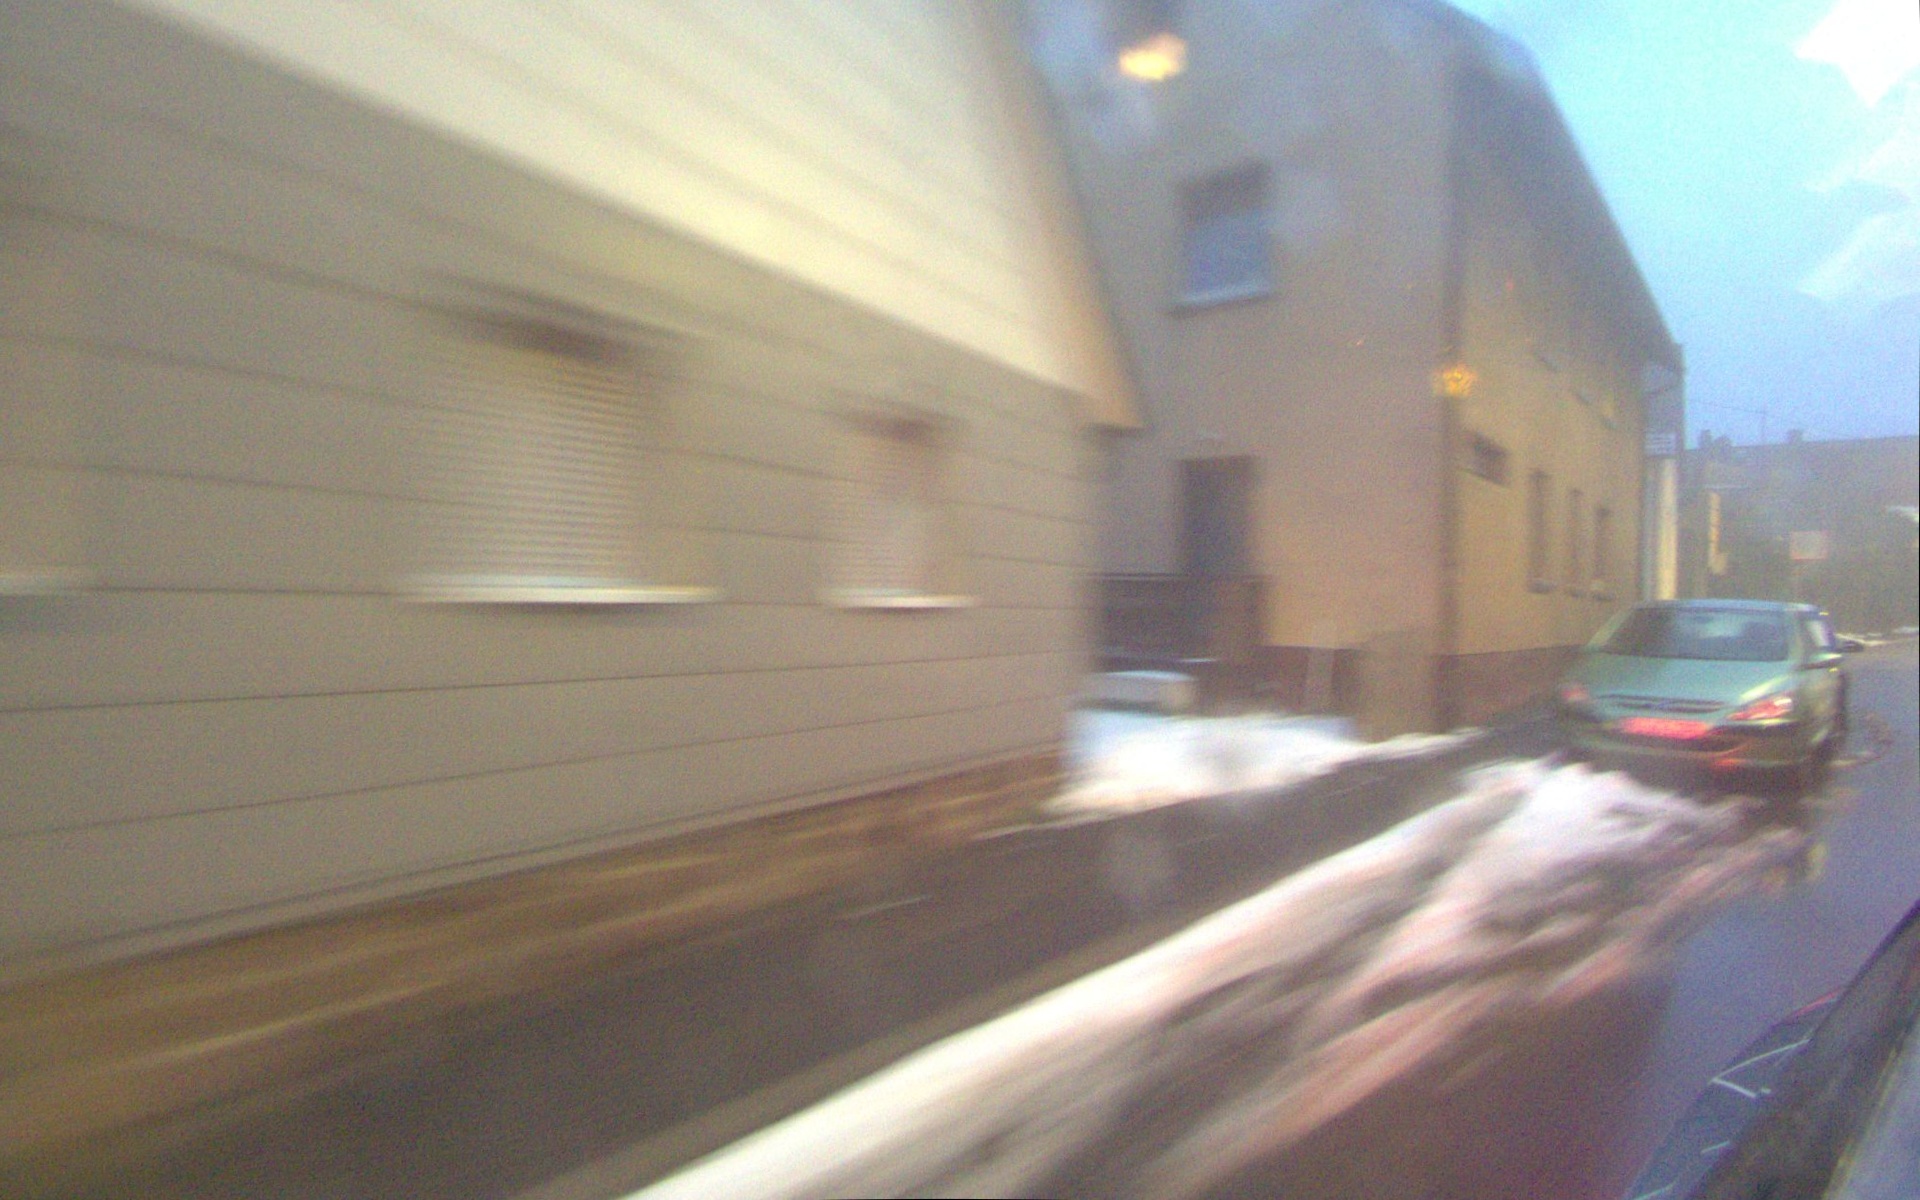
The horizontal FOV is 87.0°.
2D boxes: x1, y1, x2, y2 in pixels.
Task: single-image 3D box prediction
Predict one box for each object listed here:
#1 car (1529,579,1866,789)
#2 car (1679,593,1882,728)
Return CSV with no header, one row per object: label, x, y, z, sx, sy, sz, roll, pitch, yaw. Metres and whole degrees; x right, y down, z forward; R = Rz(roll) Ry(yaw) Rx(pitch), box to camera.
car,6.987,0.561,9.403,4.212,1.499,1.911,-1,1,-45
car,10.970,0.675,13.432,1.717,1.518,3.844,0,0,45
